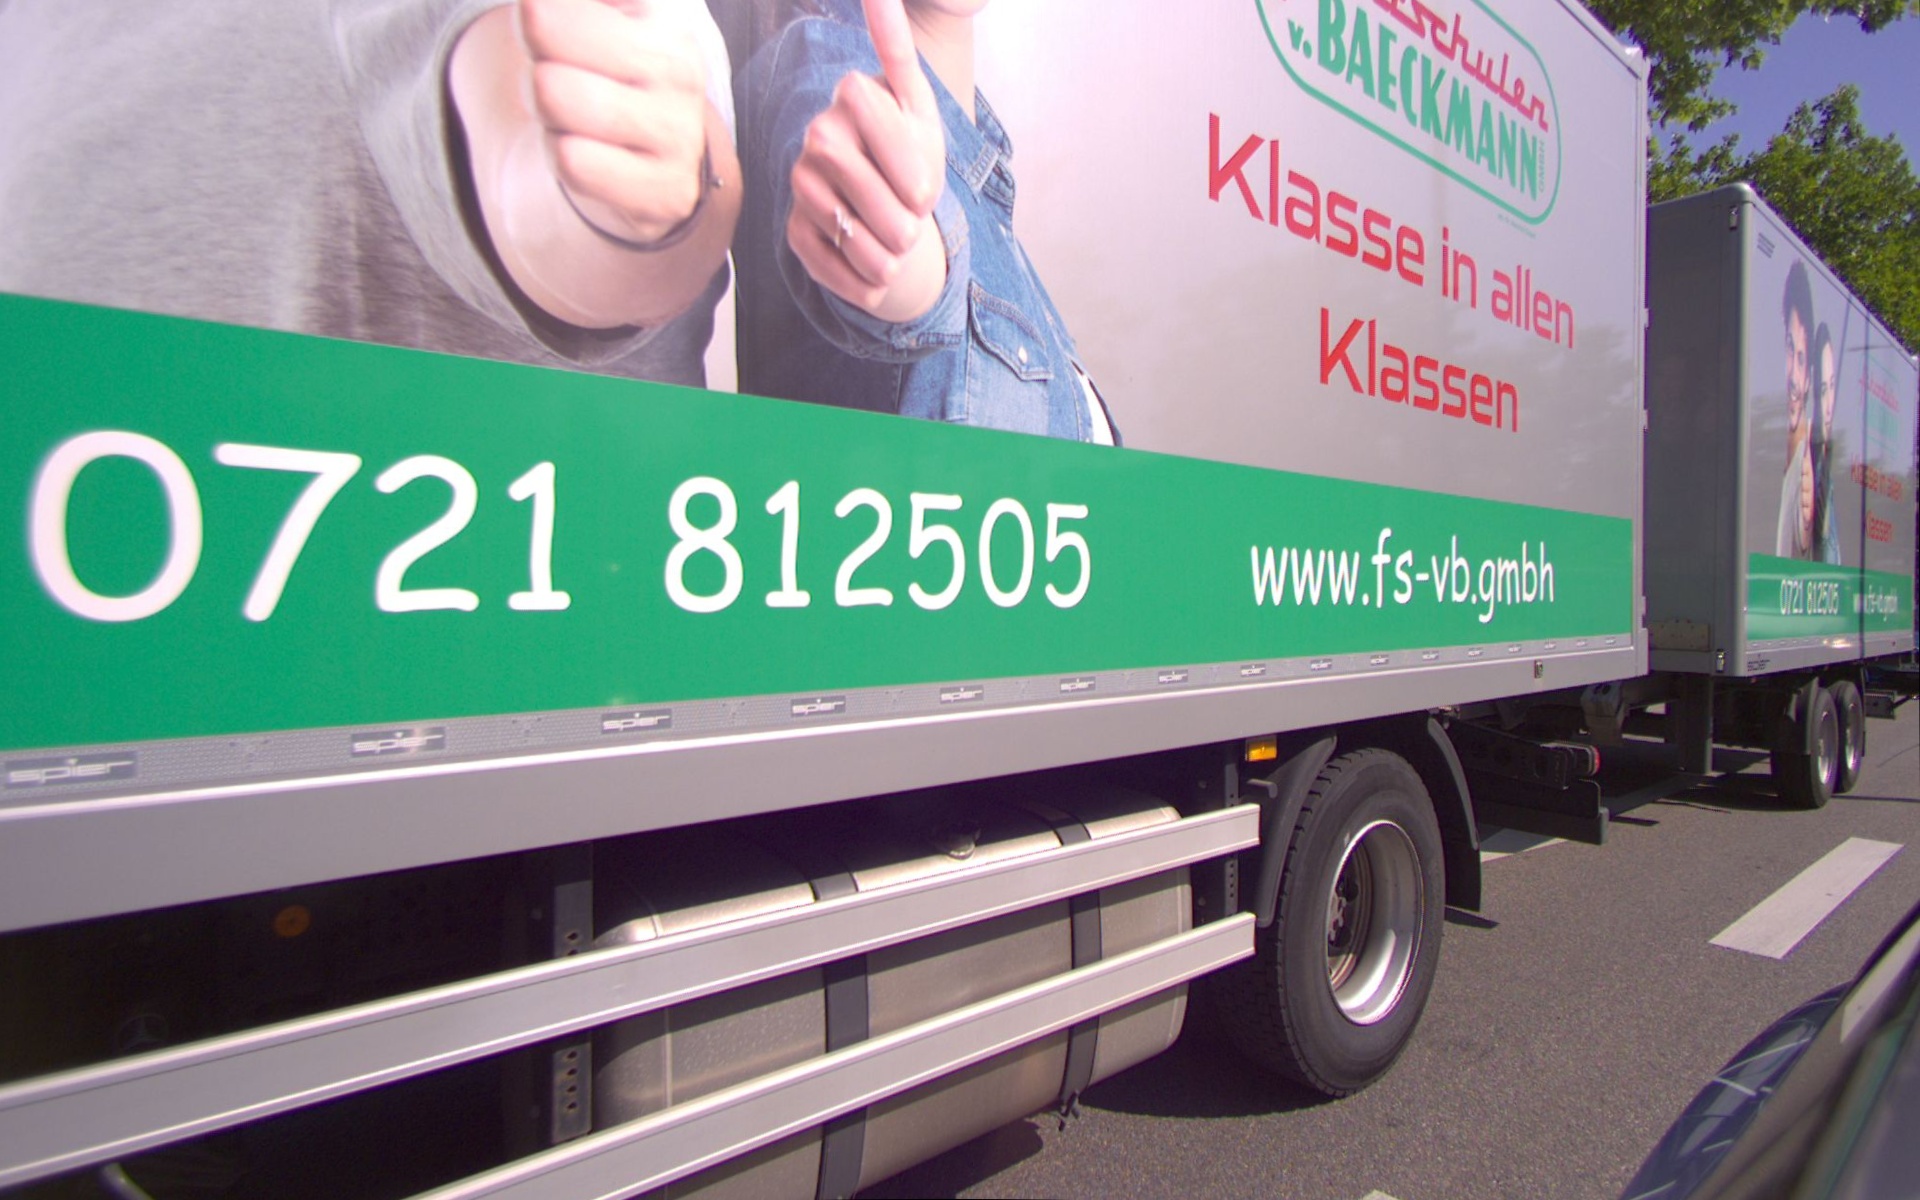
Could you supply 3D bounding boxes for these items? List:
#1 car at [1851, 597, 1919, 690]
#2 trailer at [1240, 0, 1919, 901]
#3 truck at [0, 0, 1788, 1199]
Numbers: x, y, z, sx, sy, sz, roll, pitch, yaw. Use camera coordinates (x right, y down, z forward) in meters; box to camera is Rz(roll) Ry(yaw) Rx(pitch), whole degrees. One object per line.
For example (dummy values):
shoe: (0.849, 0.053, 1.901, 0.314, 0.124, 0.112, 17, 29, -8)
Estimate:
car: (16.876, 0.704, 17.346, 4.058, 1.437, 1.871, 0, 2, -41)
trailer: (5.618, -0.753, 7.766, 7.596, 3.925, 2.743, -1, 2, -39)
truck: (-0.754, -0.674, 2.669, 8.564, 3.938, 2.737, -1, 2, -38)
